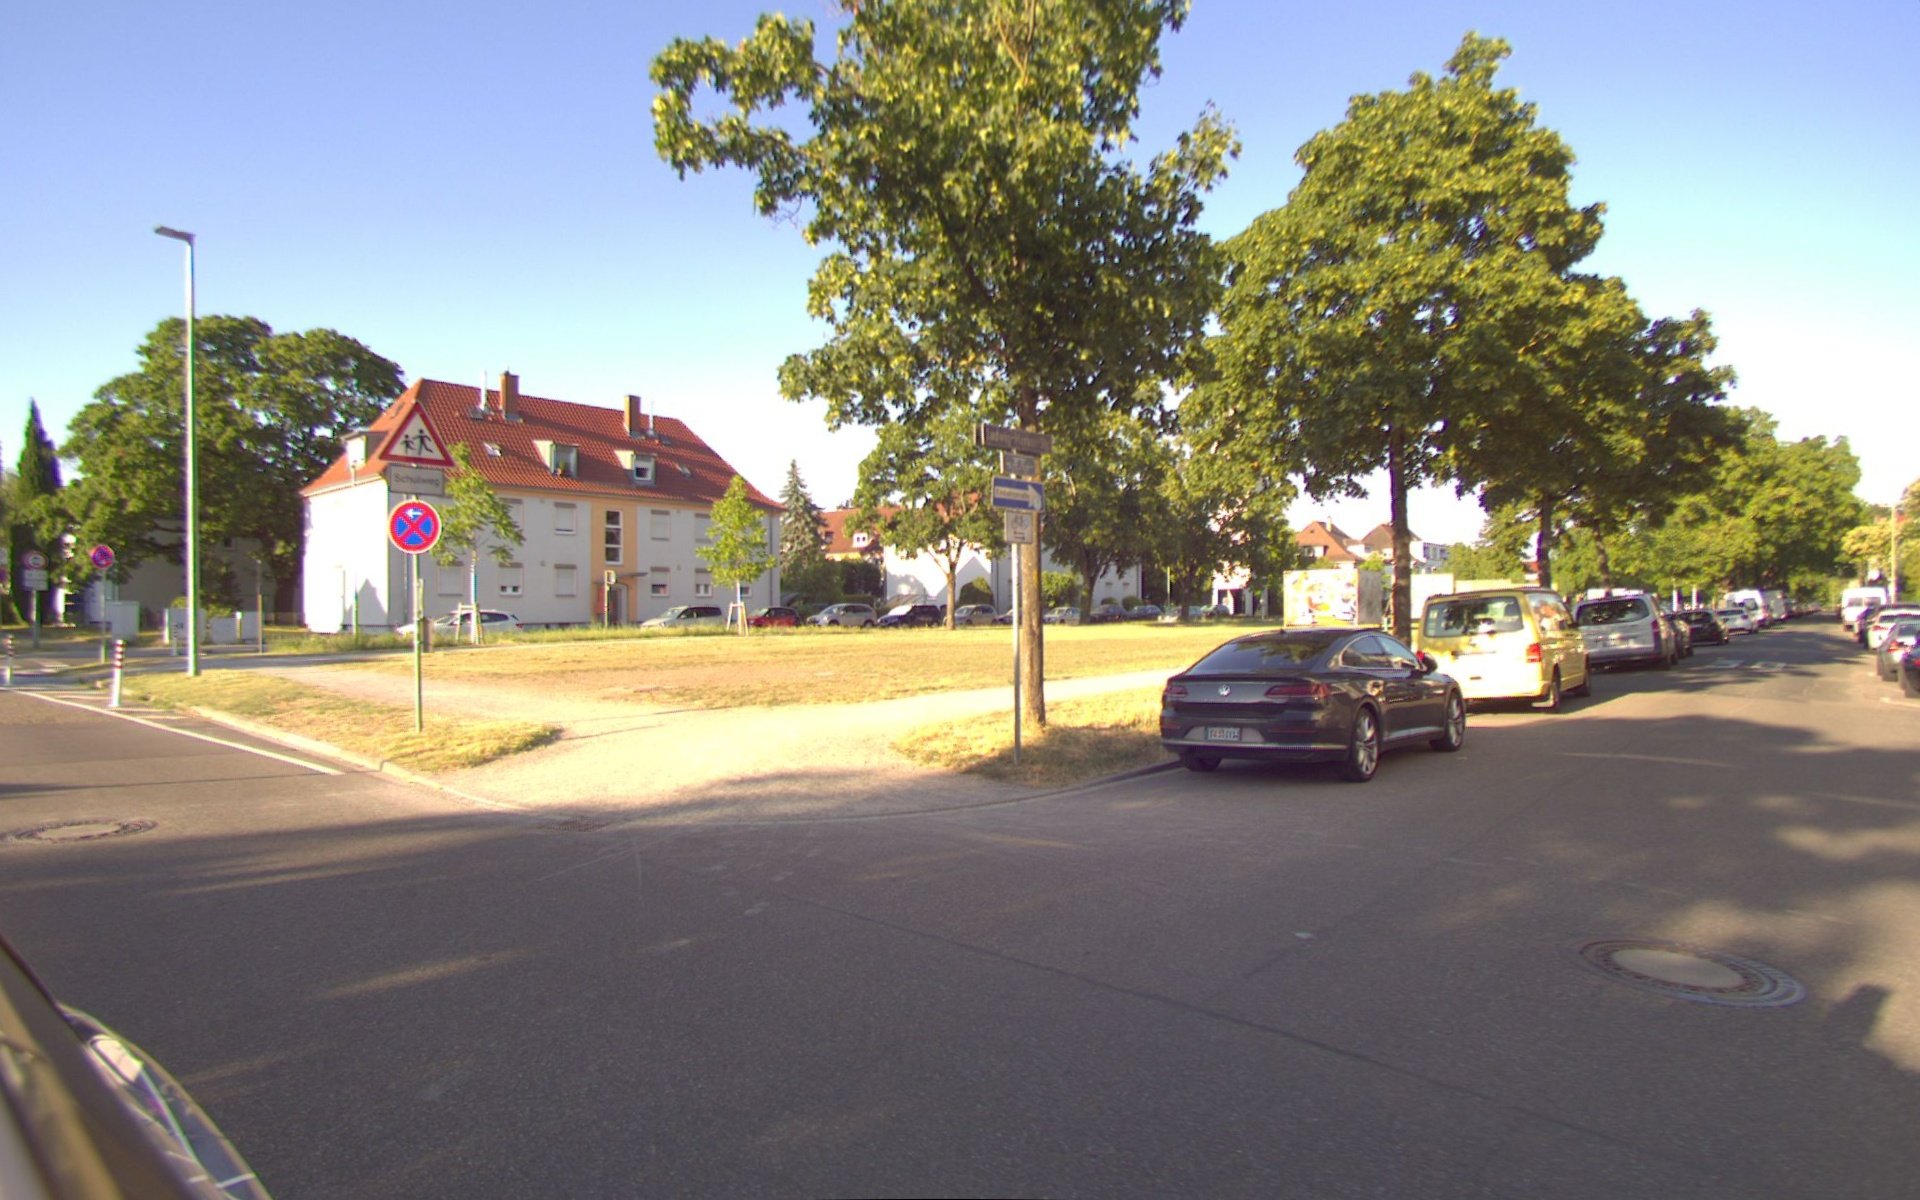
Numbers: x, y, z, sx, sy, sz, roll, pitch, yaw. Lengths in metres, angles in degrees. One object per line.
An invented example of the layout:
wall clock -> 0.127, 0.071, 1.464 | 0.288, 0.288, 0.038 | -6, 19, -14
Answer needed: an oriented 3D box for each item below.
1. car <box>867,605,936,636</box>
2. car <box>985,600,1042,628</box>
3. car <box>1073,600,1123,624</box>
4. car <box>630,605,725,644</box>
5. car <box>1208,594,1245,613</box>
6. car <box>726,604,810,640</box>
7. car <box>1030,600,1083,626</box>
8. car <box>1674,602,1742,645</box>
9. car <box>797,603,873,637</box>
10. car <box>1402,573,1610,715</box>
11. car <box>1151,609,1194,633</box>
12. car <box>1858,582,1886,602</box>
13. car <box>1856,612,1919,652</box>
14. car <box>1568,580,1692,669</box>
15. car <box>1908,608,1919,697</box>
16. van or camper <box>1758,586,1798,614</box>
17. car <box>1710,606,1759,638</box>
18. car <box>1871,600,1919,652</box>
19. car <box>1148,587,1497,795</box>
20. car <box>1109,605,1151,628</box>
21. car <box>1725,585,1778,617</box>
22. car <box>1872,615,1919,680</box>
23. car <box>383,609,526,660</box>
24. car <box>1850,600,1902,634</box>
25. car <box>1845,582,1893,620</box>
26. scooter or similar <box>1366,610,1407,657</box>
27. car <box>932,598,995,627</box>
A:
car -> -3.420, 1.208, 59.361 | 1.849, 1.708, 3.947 | -3, -2, 39
car -> 3.612, 0.919, 67.690 | 1.849, 1.708, 3.947 | -3, -2, 39
car -> 10.308, 0.877, 75.520 | 1.849, 1.708, 3.947 | -3, -2, 39
car -> -13.253, 1.115, 47.681 | 1.849, 1.708, 3.947 | -3, -2, 39
car -> 25.439, 0.366, 96.555 | 1.849, 1.708, 3.947 | -3, -2, 39
car -> -9.816, 1.099, 51.892 | 1.849, 1.708, 3.947 | -3, -2, 39
car -> 6.843, 0.904, 71.663 | 1.849, 1.708, 3.947 | -3, -2, 39
car -> 29.341, 0.889, 39.655 | 1.825, 1.592, 3.784 | -1, 0, 41
car -> -6.776, 1.075, 55.188 | 1.849, 1.708, 3.947 | -3, -2, 39
car -> 9.232, 0.685, 16.903 | 2.031, 2.029, 4.631 | -5, -3, 40
car -> 16.191, 1.578, 77.080 | 1.806, 1.730, 3.300 | 1, 1, 41
car -> 85.973, -0.750, 95.380 | 1.849, 1.755, 3.839 | -1, 0, 44
car -> 39.453, 1.324, 43.118 | 1.825, 1.592, 4.105 | -1, 0, 41
car -> 16.788, 0.549, 25.255 | 2.078, 2.029, 4.514 | 0, 0, 40
car -> 17.791, 0.856, 17.707 | 1.626, 1.433, 3.678 | -3, -2, 42
van or camper -> 69.277, -0.034, 85.669 | 2.230, 2.295, 4.444 | -1, 0, 44
car -> 40.765, 1.142, 53.243 | 1.825, 1.592, 3.784 | -1, 0, 41
car -> 30.587, 0.806, 32.571 | 1.825, 1.592, 3.784 | -1, 0, 41
car -> 3.996, 0.731, 10.599 | 1.788, 1.681, 4.772 | -1, 0, 42
car -> 13.371, 1.270, 79.329 | 1.806, 1.730, 3.300 | 1, 1, 41
car -> 50.781, 0.080, 64.936 | 2.230, 1.960, 4.444 | -1, 0, 44
car -> 20.971, 0.995, 21.815 | 1.623, 1.249, 3.684 | 1, 1, 37
car -> -18.274, 1.231, 36.722 | 1.869, 1.708, 4.244 | -3, -2, 39
car -> 45.712, 0.818, 50.560 | 1.825, 1.592, 3.913 | -1, 0, 41
car -> 55.057, 0.064, 61.270 | 2.001, 2.230, 4.071 | -1, 0, 44
scooter or similar -> 10.727, 0.826, 25.426 | 0.453, 1.124, 1.626 | -1, -1, 42
car -> 0.254, 0.781, 63.770 | 1.849, 1.708, 3.947 | -3, -2, 39
